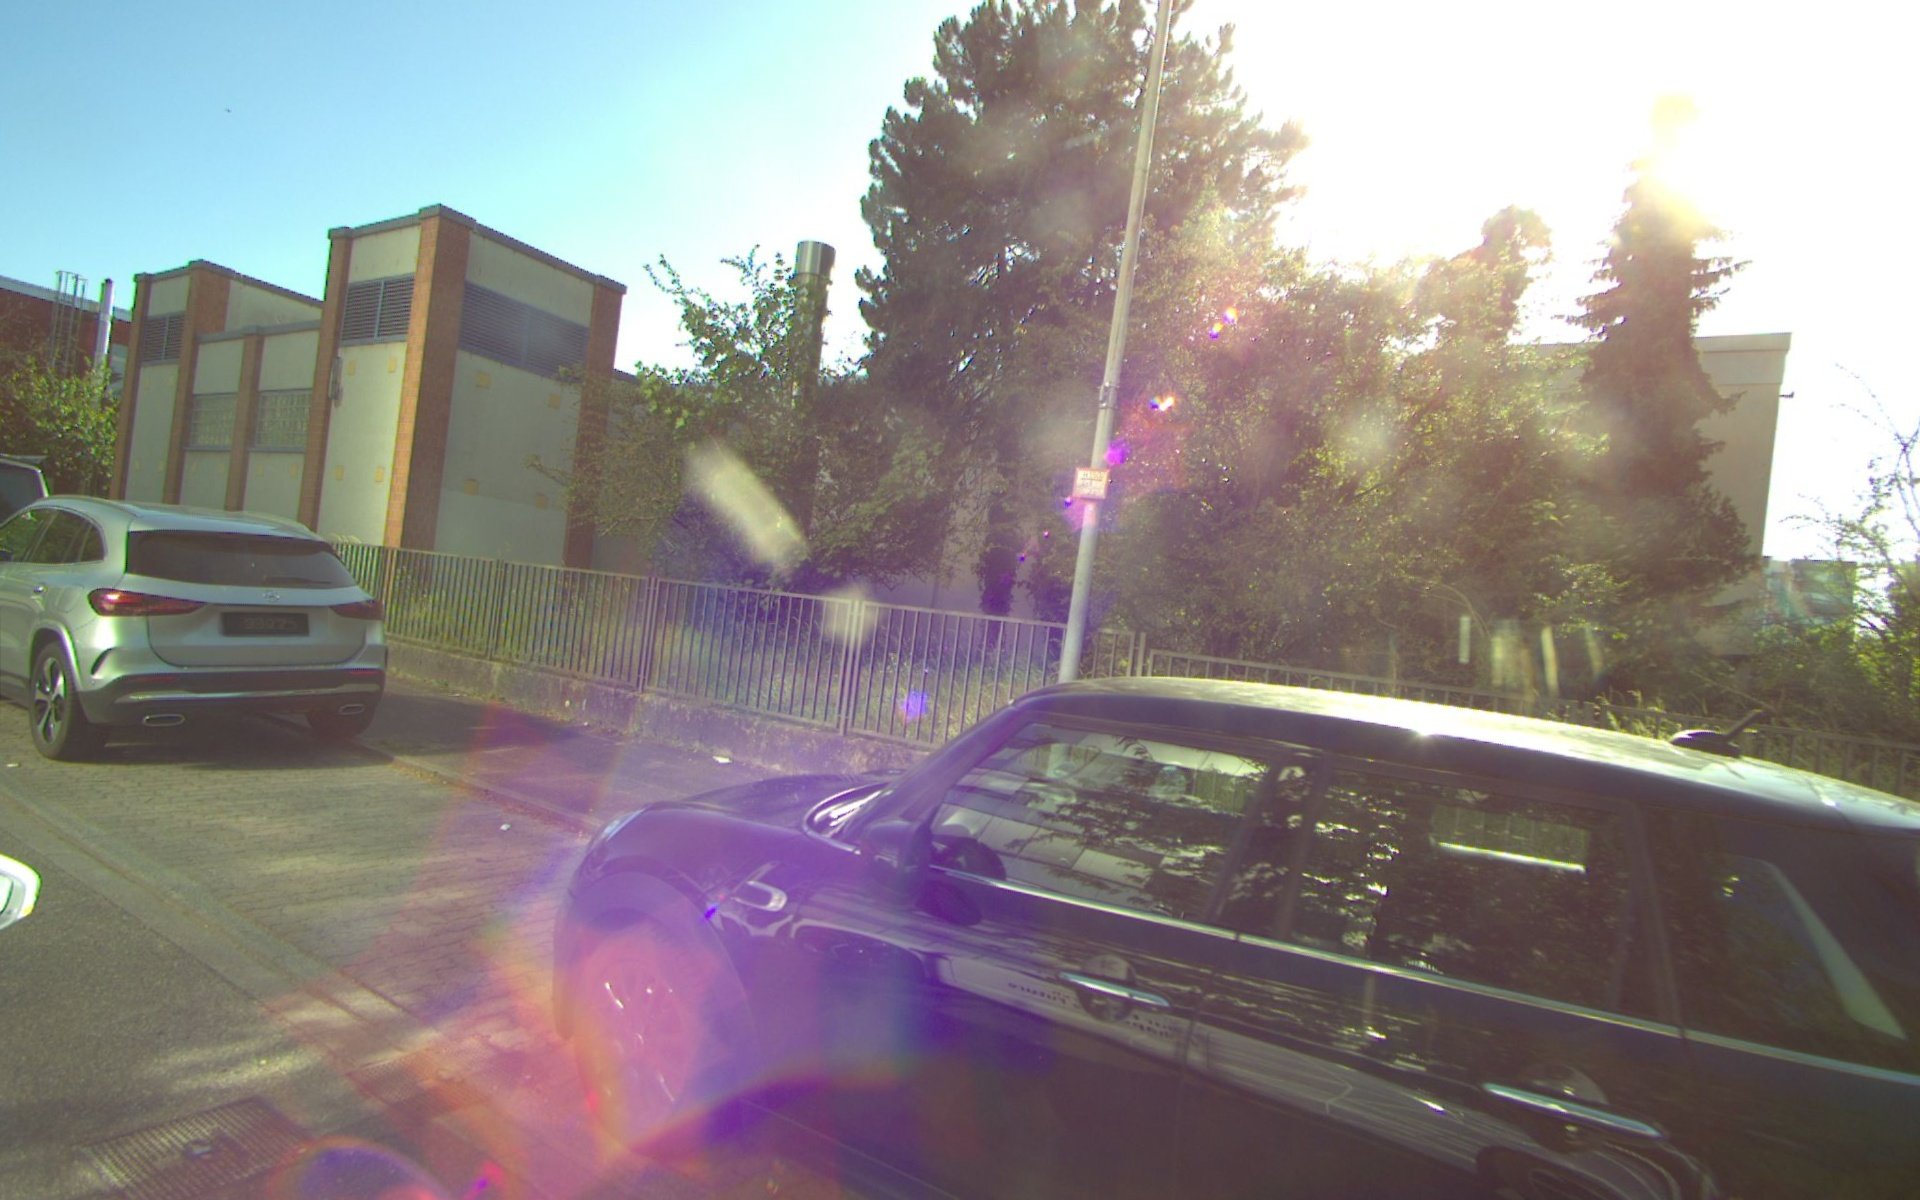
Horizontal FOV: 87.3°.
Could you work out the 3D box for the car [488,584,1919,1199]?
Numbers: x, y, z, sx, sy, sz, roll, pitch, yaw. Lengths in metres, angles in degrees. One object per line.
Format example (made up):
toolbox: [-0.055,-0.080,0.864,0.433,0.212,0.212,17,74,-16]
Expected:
car: [0.653,0.899,2.695,3.702,1.490,1.653,6,0,32]

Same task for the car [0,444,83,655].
car: [-11.604,-0.714,10.809,4.747,2.047,1.945,6,0,33]

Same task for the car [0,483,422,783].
car: [-6.143,0.090,7.524,4.224,1.649,1.827,6,0,33]

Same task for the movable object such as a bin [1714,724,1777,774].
movable object such as a bin: [25.684,4.856,32.930,1.349,1.374,1.628,6,-1,34]
